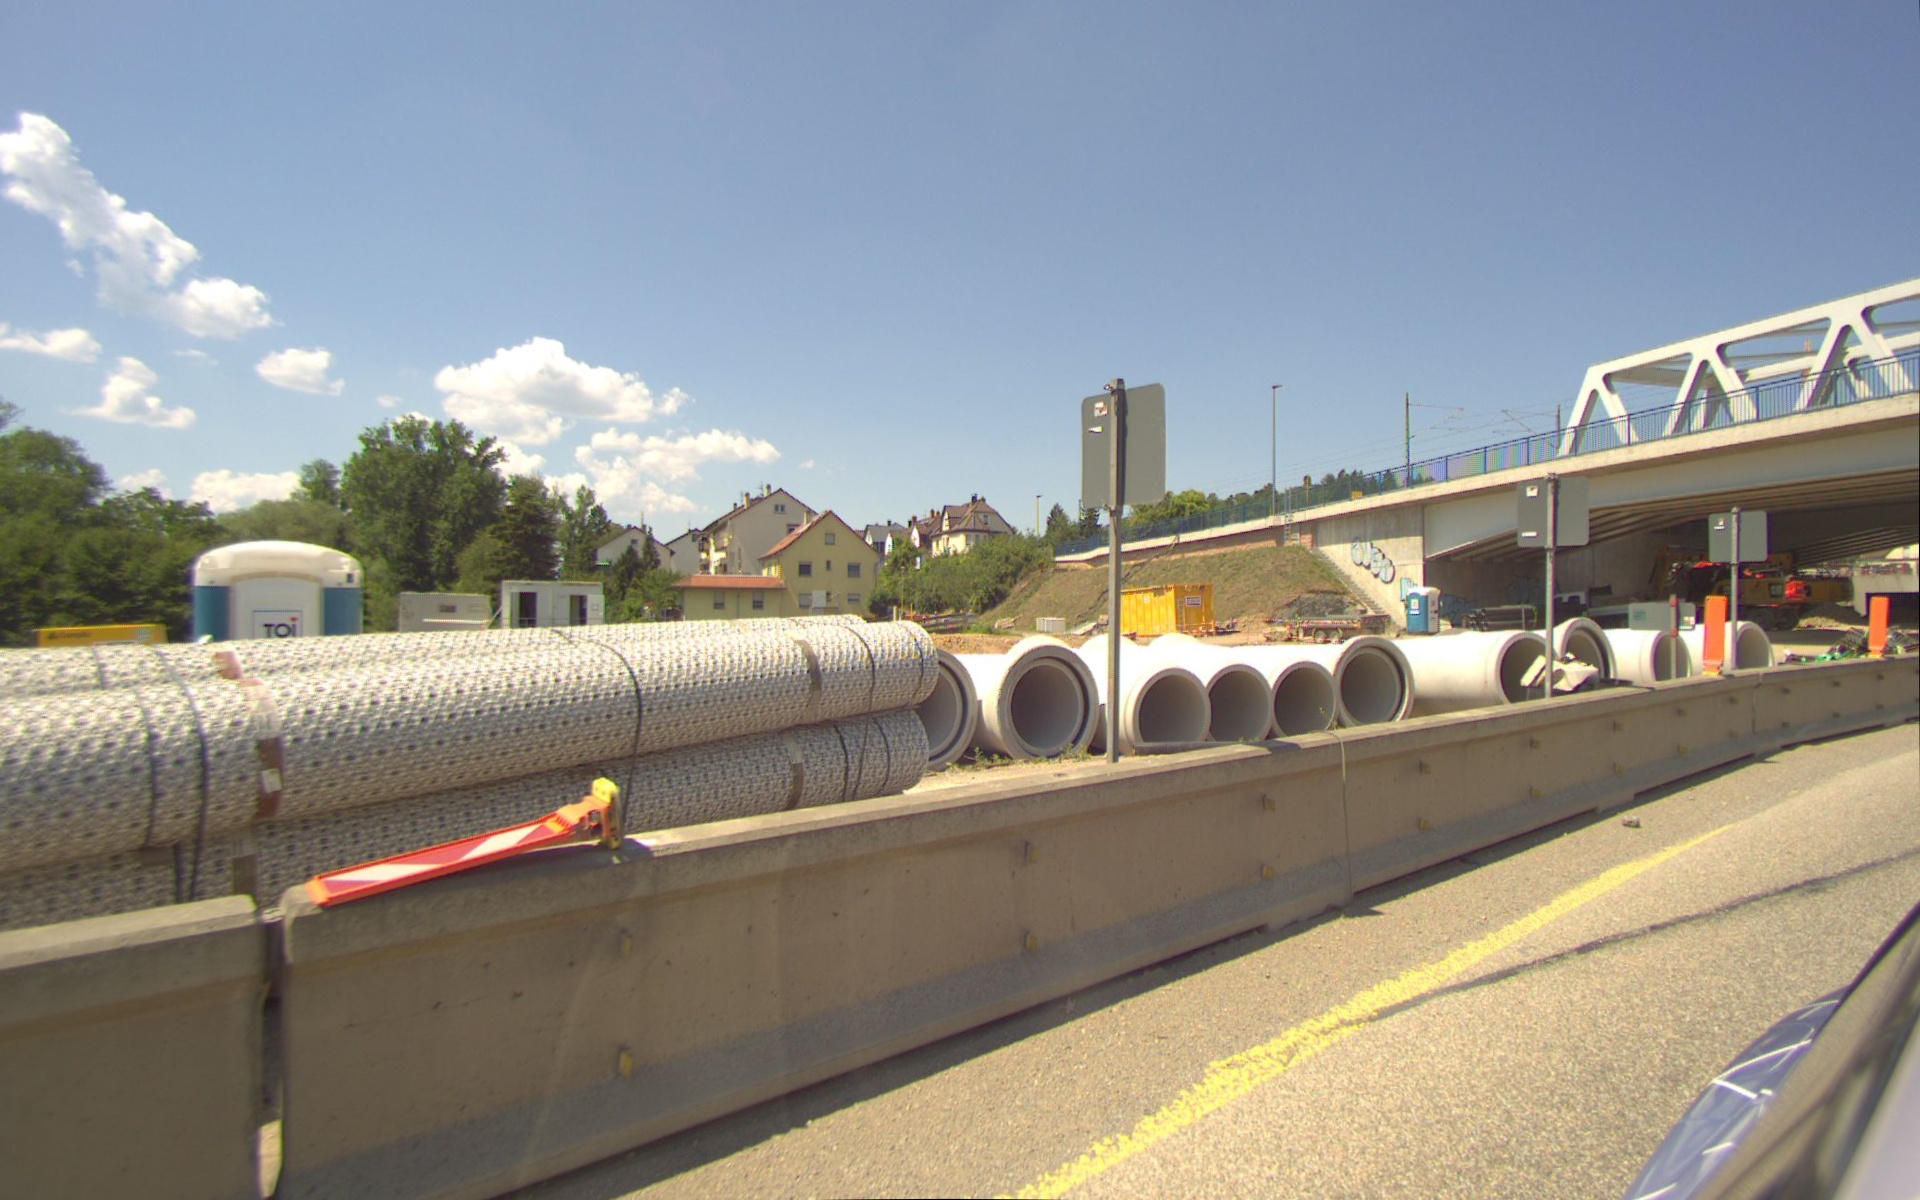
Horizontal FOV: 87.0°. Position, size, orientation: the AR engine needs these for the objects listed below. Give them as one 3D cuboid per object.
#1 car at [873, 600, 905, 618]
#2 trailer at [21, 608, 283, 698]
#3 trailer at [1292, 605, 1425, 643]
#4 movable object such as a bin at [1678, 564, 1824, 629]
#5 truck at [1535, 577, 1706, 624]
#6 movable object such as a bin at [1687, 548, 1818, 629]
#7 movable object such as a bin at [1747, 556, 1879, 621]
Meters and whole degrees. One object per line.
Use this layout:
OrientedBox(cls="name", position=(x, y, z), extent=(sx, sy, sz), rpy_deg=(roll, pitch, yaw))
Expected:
OrientedBox(cls="car", position=(-6.665, 0.843, 94.468), extent=(1.546, 1.526, 4.174), rpy_deg=(-3, 2, -25))
OrientedBox(cls="trailer", position=(-15.285, 0.945, 19.420), extent=(3.751, 1.505, 1.630), rpy_deg=(-1, 0, -32))
OrientedBox(cls="trailer", position=(15.729, 0.903, 40.183), extent=(2.014, 1.234, 4.735), rpy_deg=(-3, 2, -28))
OrientedBox(cls="movable object such as a bin", position=(40.459, -0.165, 51.945), extent=(2.445, 3.095, 5.265), rpy_deg=(-2, 0, -24))
OrientedBox(cls="truck", position=(31.921, 0.056, 49.255), extent=(2.610, 2.099, 6.553), rpy_deg=(-1, 0, -25))
OrientedBox(cls="movable object such as a bin", position=(37.791, -0.537, 48.383), extent=(2.842, 3.587, 3.901), rpy_deg=(-3, 0, -17))
OrientedBox(cls="movable object such as a bin", position=(46.647, -0.591, 55.453), extent=(2.929, 3.328, 4.575), rpy_deg=(-3, 0, -24))
